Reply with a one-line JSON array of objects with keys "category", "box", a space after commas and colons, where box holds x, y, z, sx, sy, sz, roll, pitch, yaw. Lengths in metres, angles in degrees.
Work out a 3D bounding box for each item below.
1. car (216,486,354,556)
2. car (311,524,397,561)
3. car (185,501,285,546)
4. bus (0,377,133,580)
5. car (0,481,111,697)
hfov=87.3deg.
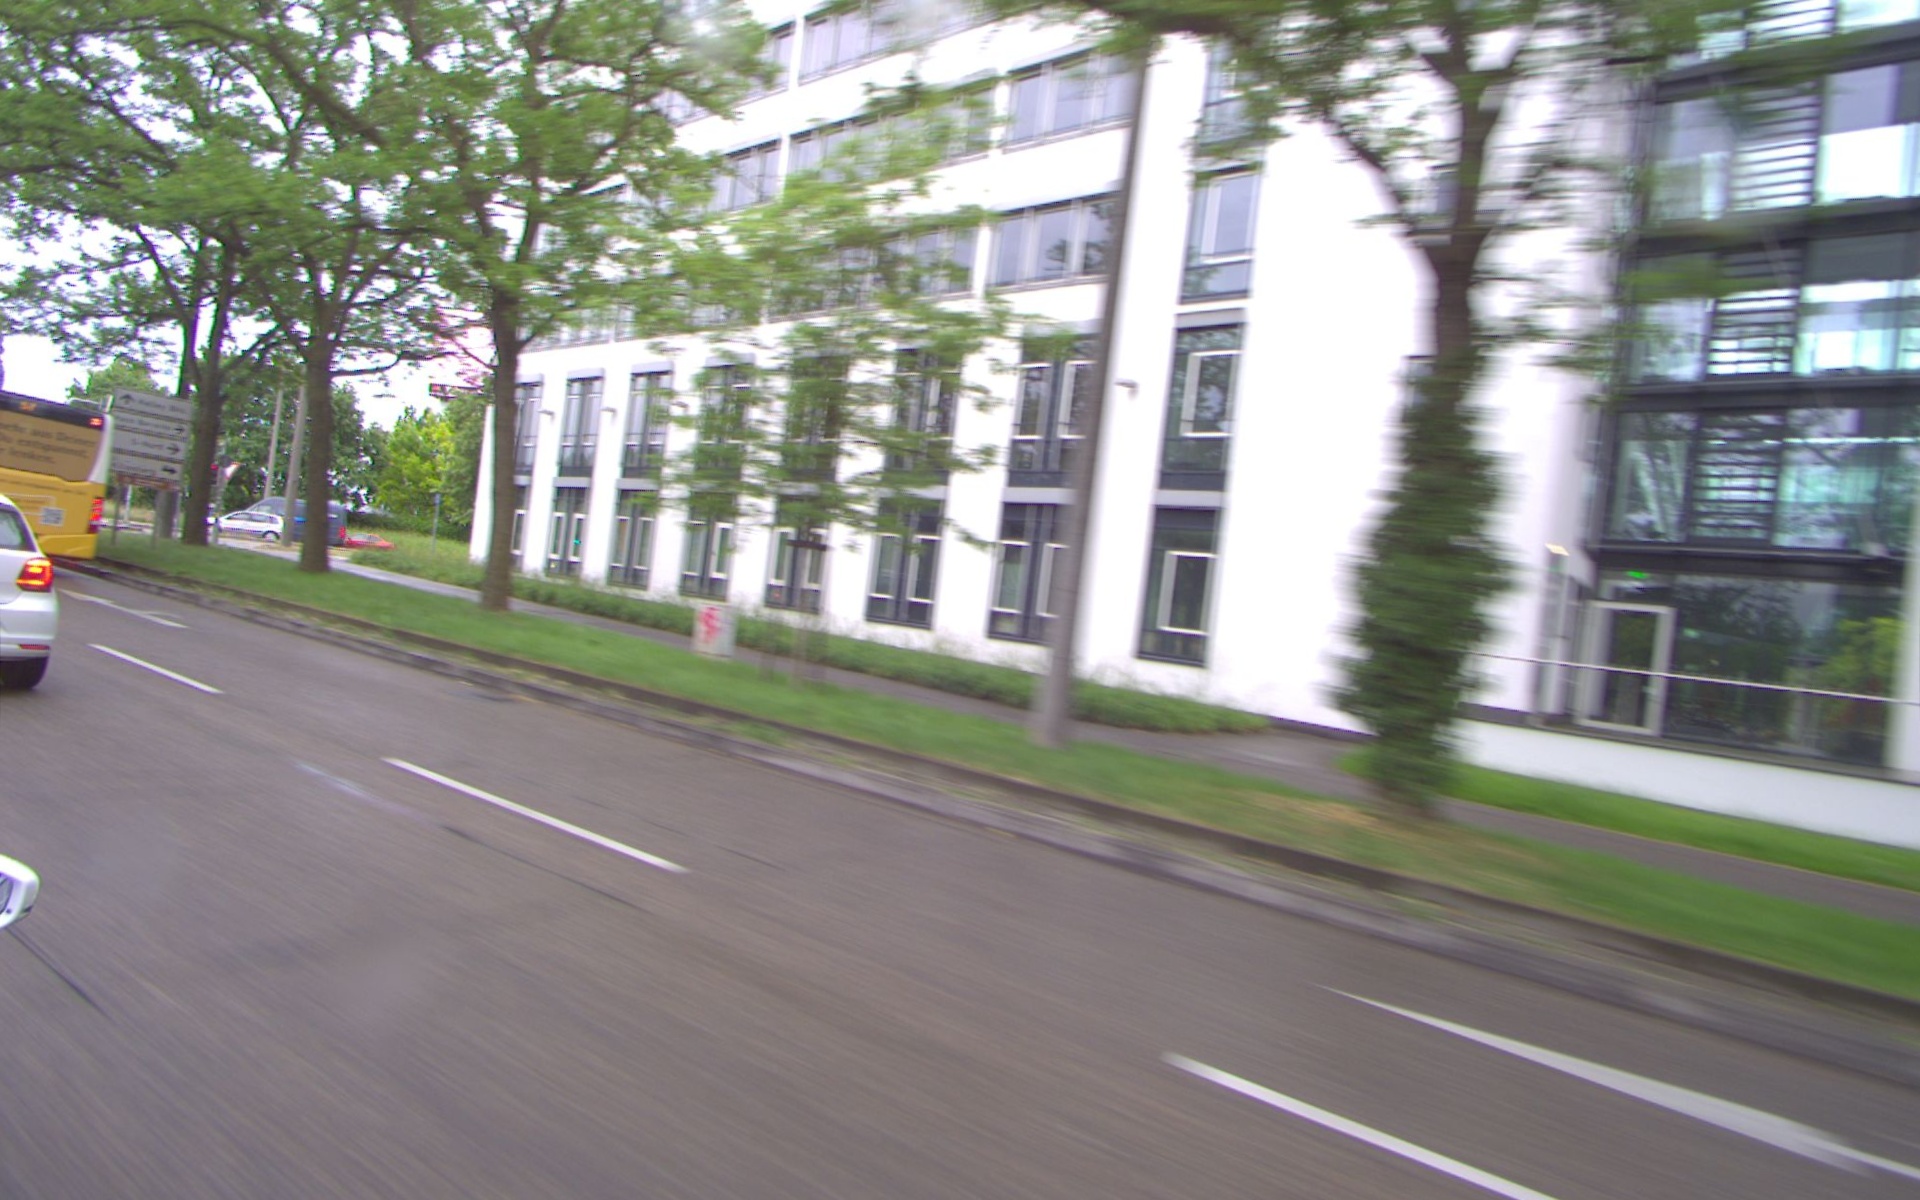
[{"category": "car", "box": [-37.490, -4.319, 56.141, 5.967, 2.772, 2.066, 9, -3, -30]}, {"category": "car", "box": [-38.327, -3.591, 63.719, 4.494, 1.486, 2.146, 10, -3, -31]}, {"category": "car", "box": [-37.918, -3.979, 52.746, 4.024, 1.586, 1.856, 9, -3, -33]}, {"category": "bus", "box": [-20.998, -2.783, 20.641, 11.950, 3.187, 2.732, 8, -2, 34]}, {"category": "car", "box": [-8.315, -0.307, 7.592, 3.749, 1.447, 1.745, 7, -3, 32]}]
